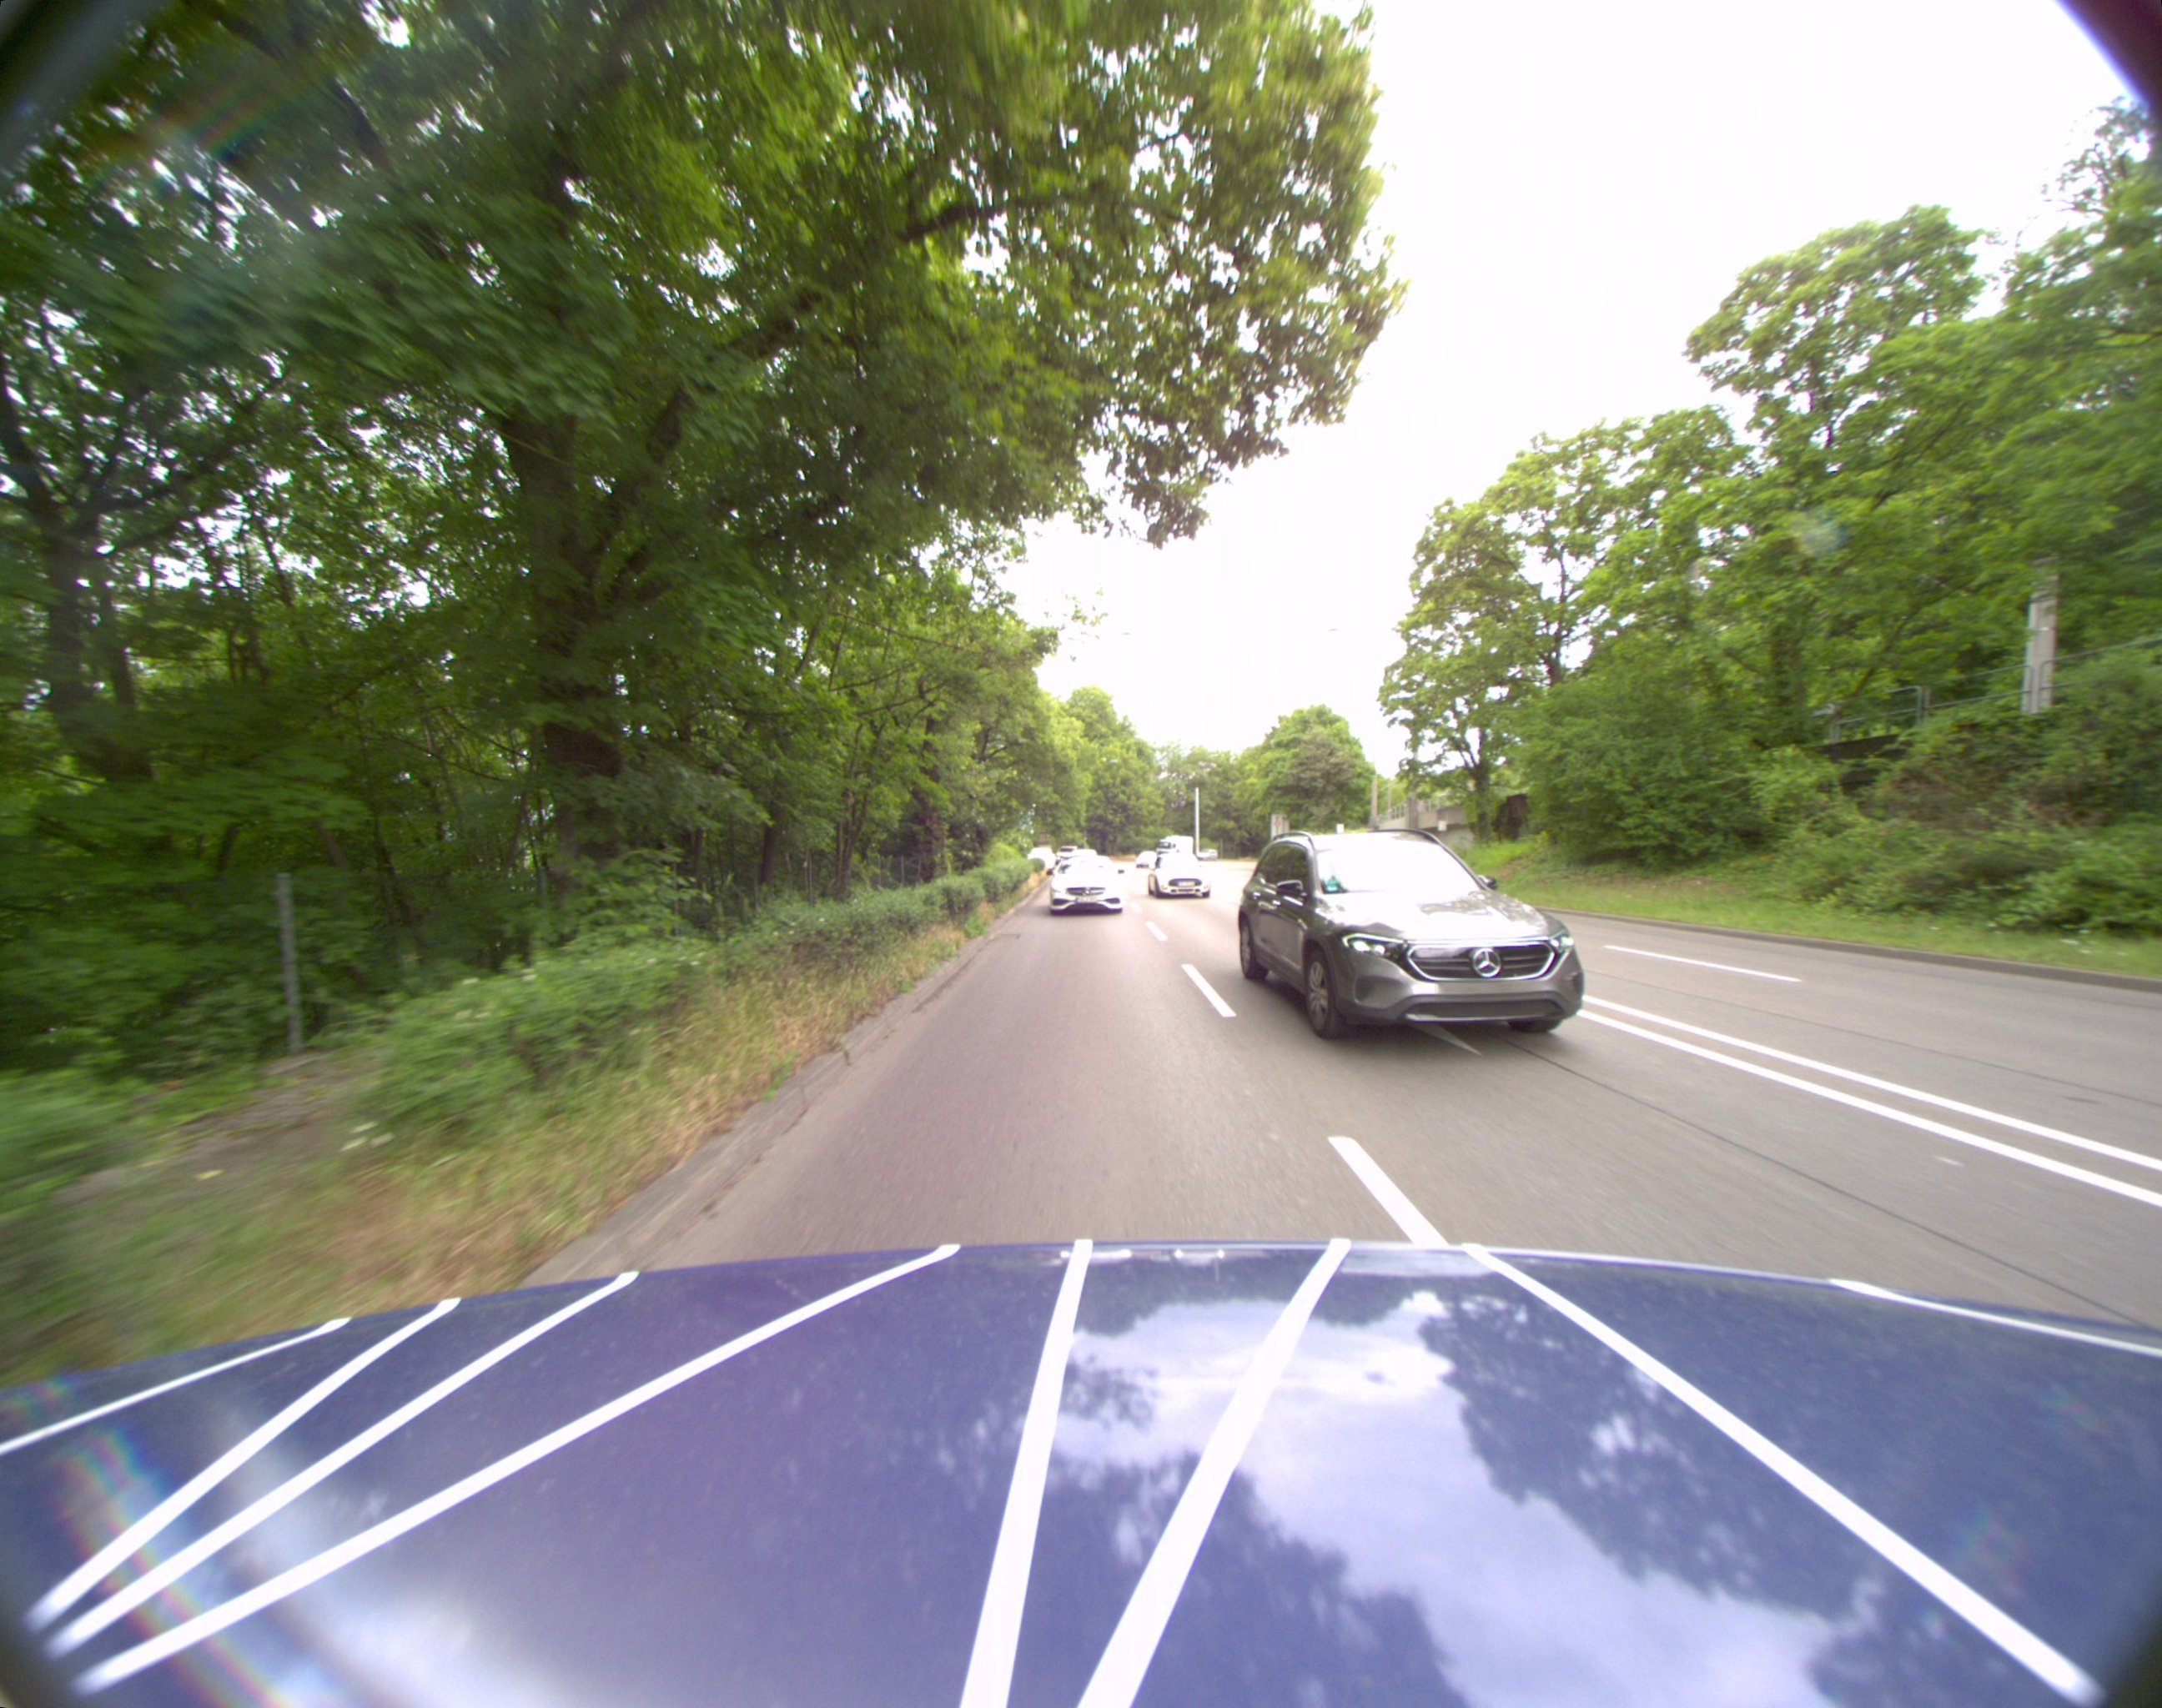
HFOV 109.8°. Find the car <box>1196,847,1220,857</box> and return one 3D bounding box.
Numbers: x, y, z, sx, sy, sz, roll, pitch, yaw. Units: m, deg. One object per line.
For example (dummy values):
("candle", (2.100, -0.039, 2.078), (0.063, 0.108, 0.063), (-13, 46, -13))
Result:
("car", (17.952, -0.277, 106.984), (1.751, 1.354, 4.019), (4, 1, 35))

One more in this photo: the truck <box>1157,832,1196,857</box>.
("truck", (12.526, -1.206, 99.271), (2.195, 3.137, 6.665), (2, 1, 33))

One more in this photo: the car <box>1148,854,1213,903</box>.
("car", (3.202, 0.749, 25.105), (1.688, 1.415, 3.733), (-1, 0, 1))

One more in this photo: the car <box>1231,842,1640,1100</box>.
("car", (2.728, 0.748, 7.105), (1.854, 1.641, 4.357), (-1, 0, 1))

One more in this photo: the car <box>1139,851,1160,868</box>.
("car", (5.871, 0.463, 64.609), (1.663, 1.382, 4.185), (-1, 0, 7))

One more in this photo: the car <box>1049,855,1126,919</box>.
("car", (0.205, 0.780, 19.863), (1.801, 1.470, 4.010), (0, 1, 1))

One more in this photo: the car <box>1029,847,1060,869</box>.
("car", (-2.438, 0.245, 51.349), (1.765, 1.433, 3.892), (1, 0, 1))

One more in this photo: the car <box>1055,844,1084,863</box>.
("car", (-0.973, -0.084, 66.794), (1.754, 1.575, 4.014), (1, 0, 11))

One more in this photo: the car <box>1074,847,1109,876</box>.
("car", (0.574, 0.398, 42.060), (1.755, 1.417, 4.010), (3, 1, 1))
